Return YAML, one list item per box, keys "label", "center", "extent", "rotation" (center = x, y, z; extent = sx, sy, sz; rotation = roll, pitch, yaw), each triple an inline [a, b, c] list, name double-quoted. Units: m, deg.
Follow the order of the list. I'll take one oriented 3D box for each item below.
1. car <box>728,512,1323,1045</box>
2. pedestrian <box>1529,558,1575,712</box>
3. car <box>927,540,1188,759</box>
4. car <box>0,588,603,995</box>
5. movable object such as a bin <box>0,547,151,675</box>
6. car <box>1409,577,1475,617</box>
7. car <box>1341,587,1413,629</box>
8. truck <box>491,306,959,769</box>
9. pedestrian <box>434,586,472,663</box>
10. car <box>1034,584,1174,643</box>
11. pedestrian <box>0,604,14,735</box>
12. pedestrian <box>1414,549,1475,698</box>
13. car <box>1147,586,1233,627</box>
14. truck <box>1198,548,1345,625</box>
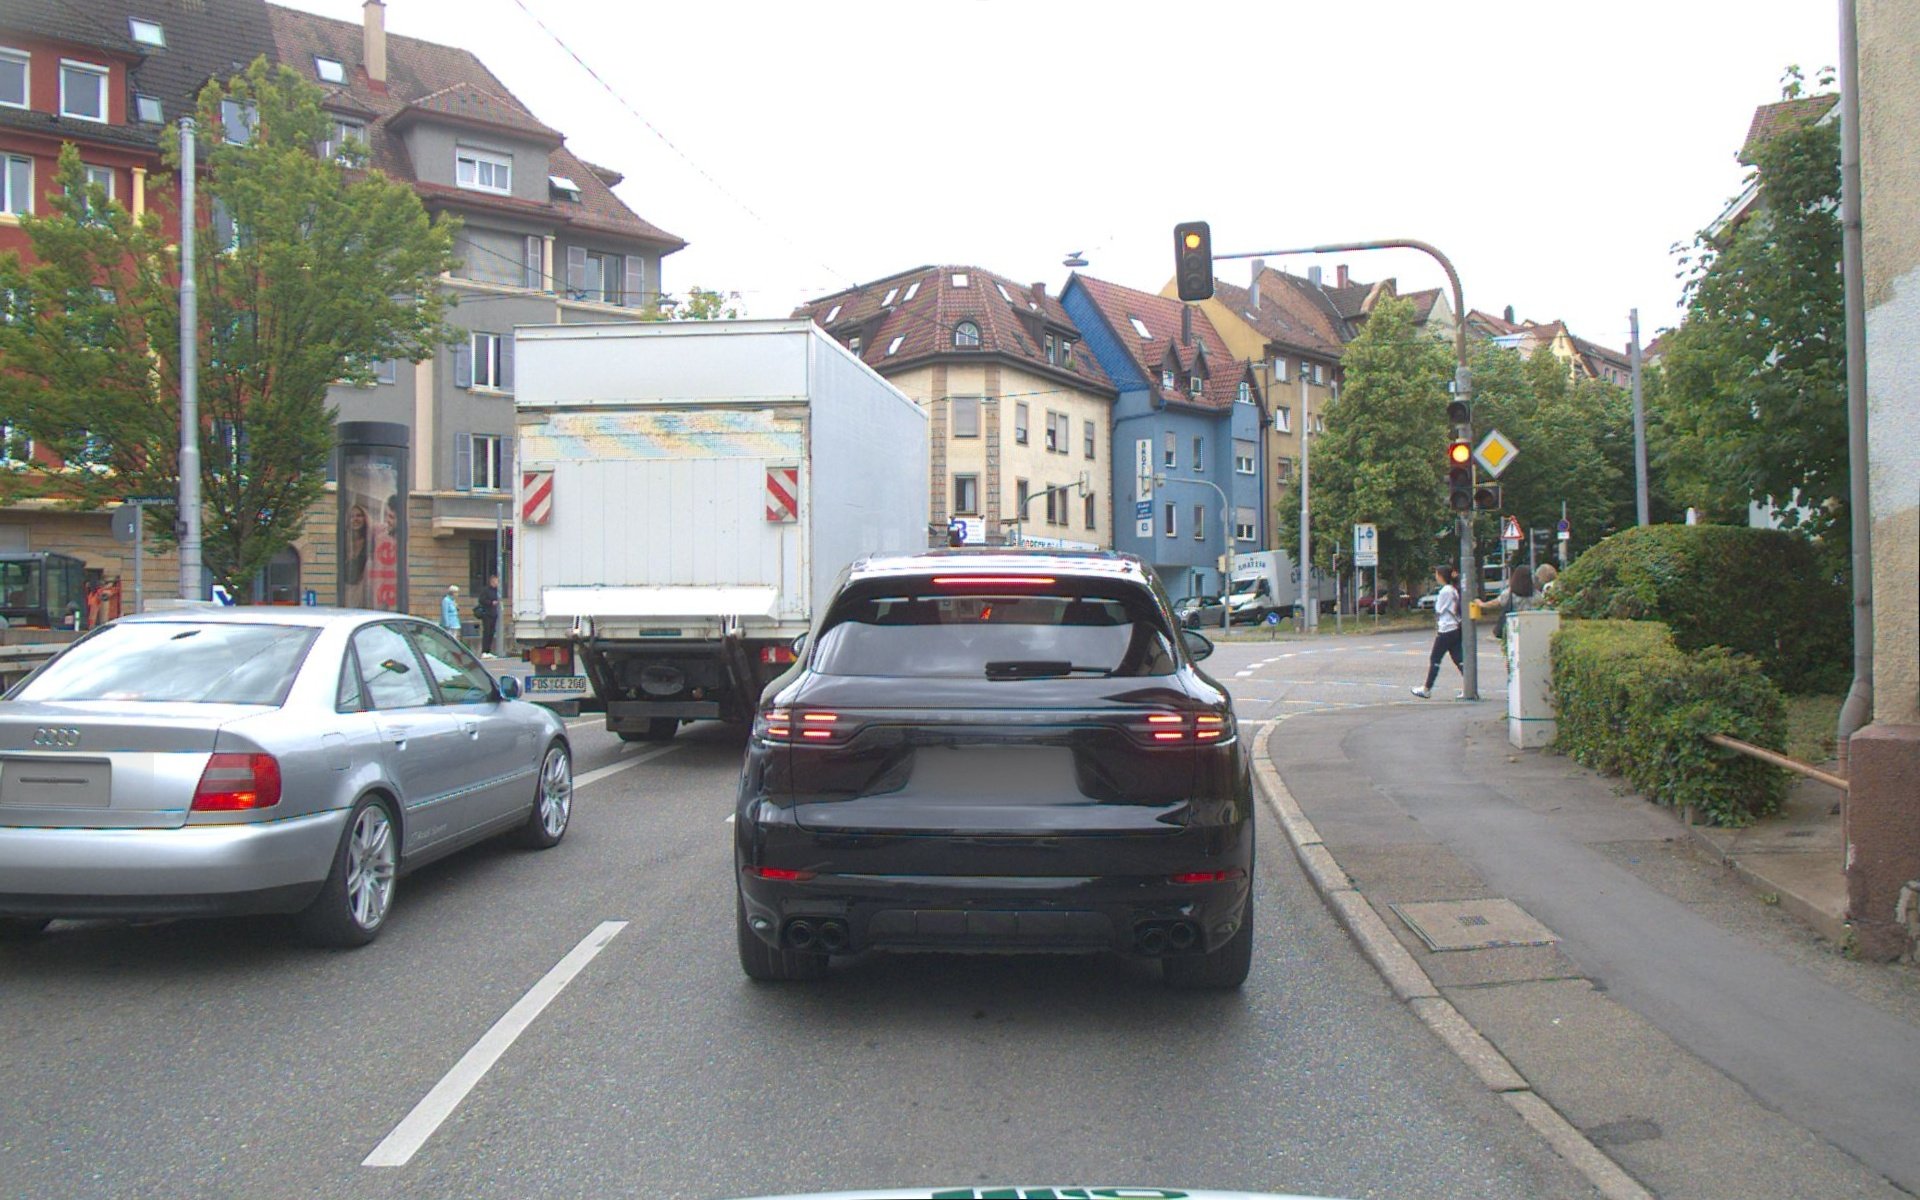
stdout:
- label: "car"
  center: [0.103, 0.547, 7.376]
  extent: [1.939, 1.713, 3.997]
  rotation: [0, 1, -4]
- label: "pedestrian"
  center: [7.320, 0.429, 20.462]
  extent: [0.453, 1.869, 0.324]
  rotation: [2, -1, 14]
- label: "car"
  center: [1.035, 0.391, 15.079]
  extent: [1.951, 1.713, 4.003]
  rotation: [0, 0, 10]
- label: "car"
  center: [-3.133, 0.669, 8.021]
  extent: [1.660, 1.397, 4.180]
  rotation: [0, 1, 3]
- label: "movable object such as a bin"
  center: [-14.113, 0.142, 25.732]
  extent: [1.870, 1.802, 3.986]
  rotation: [2, 0, -14]
- label: "car"
  center: [26.755, -0.167, 91.742]
  extent: [1.965, 2.049, 3.975]
  rotation: [2, 0, 42]
- label: "car"
  center: [21.857, 0.403, 86.580]
  extent: [1.965, 2.049, 3.975]
  rotation: [2, 0, 42]
- label: "truck"
  center: [-1.901, -0.544, 17.178]
  extent: [2.710, 3.637, 8.071]
  rotation: [1, 1, 8]
- label: "pedestrian"
  center: [-10.666, 0.508, 34.803]
  extent: [0.577, 1.594, 0.486]
  rotation: [2, -1, -1]
- label: "car"
  center: [4.605, 0.480, 53.546]
  extent: [1.910, 1.803, 4.586]
  rotation: [2, -2, -38]
- label: "pedestrian"
  center: [-13.282, 0.938, 22.573]
  extent: [0.537, 1.760, 0.586]
  rotation: [2, -1, -35]
- label: "pedestrian"
  center: [6.148, 0.295, 21.000]
  extent: [0.577, 1.851, 0.529]
  rotation: [2, -1, 2]
- label: "car"
  center: [10.010, 0.277, 71.839]
  extent: [1.963, 1.713, 3.979]
  rotation: [0, 0, 40]
- label: "truck"
  center: [14.950, -0.597, 78.780]
  extent: [2.830, 3.398, 8.744]
  rotation: [2, 0, 41]
